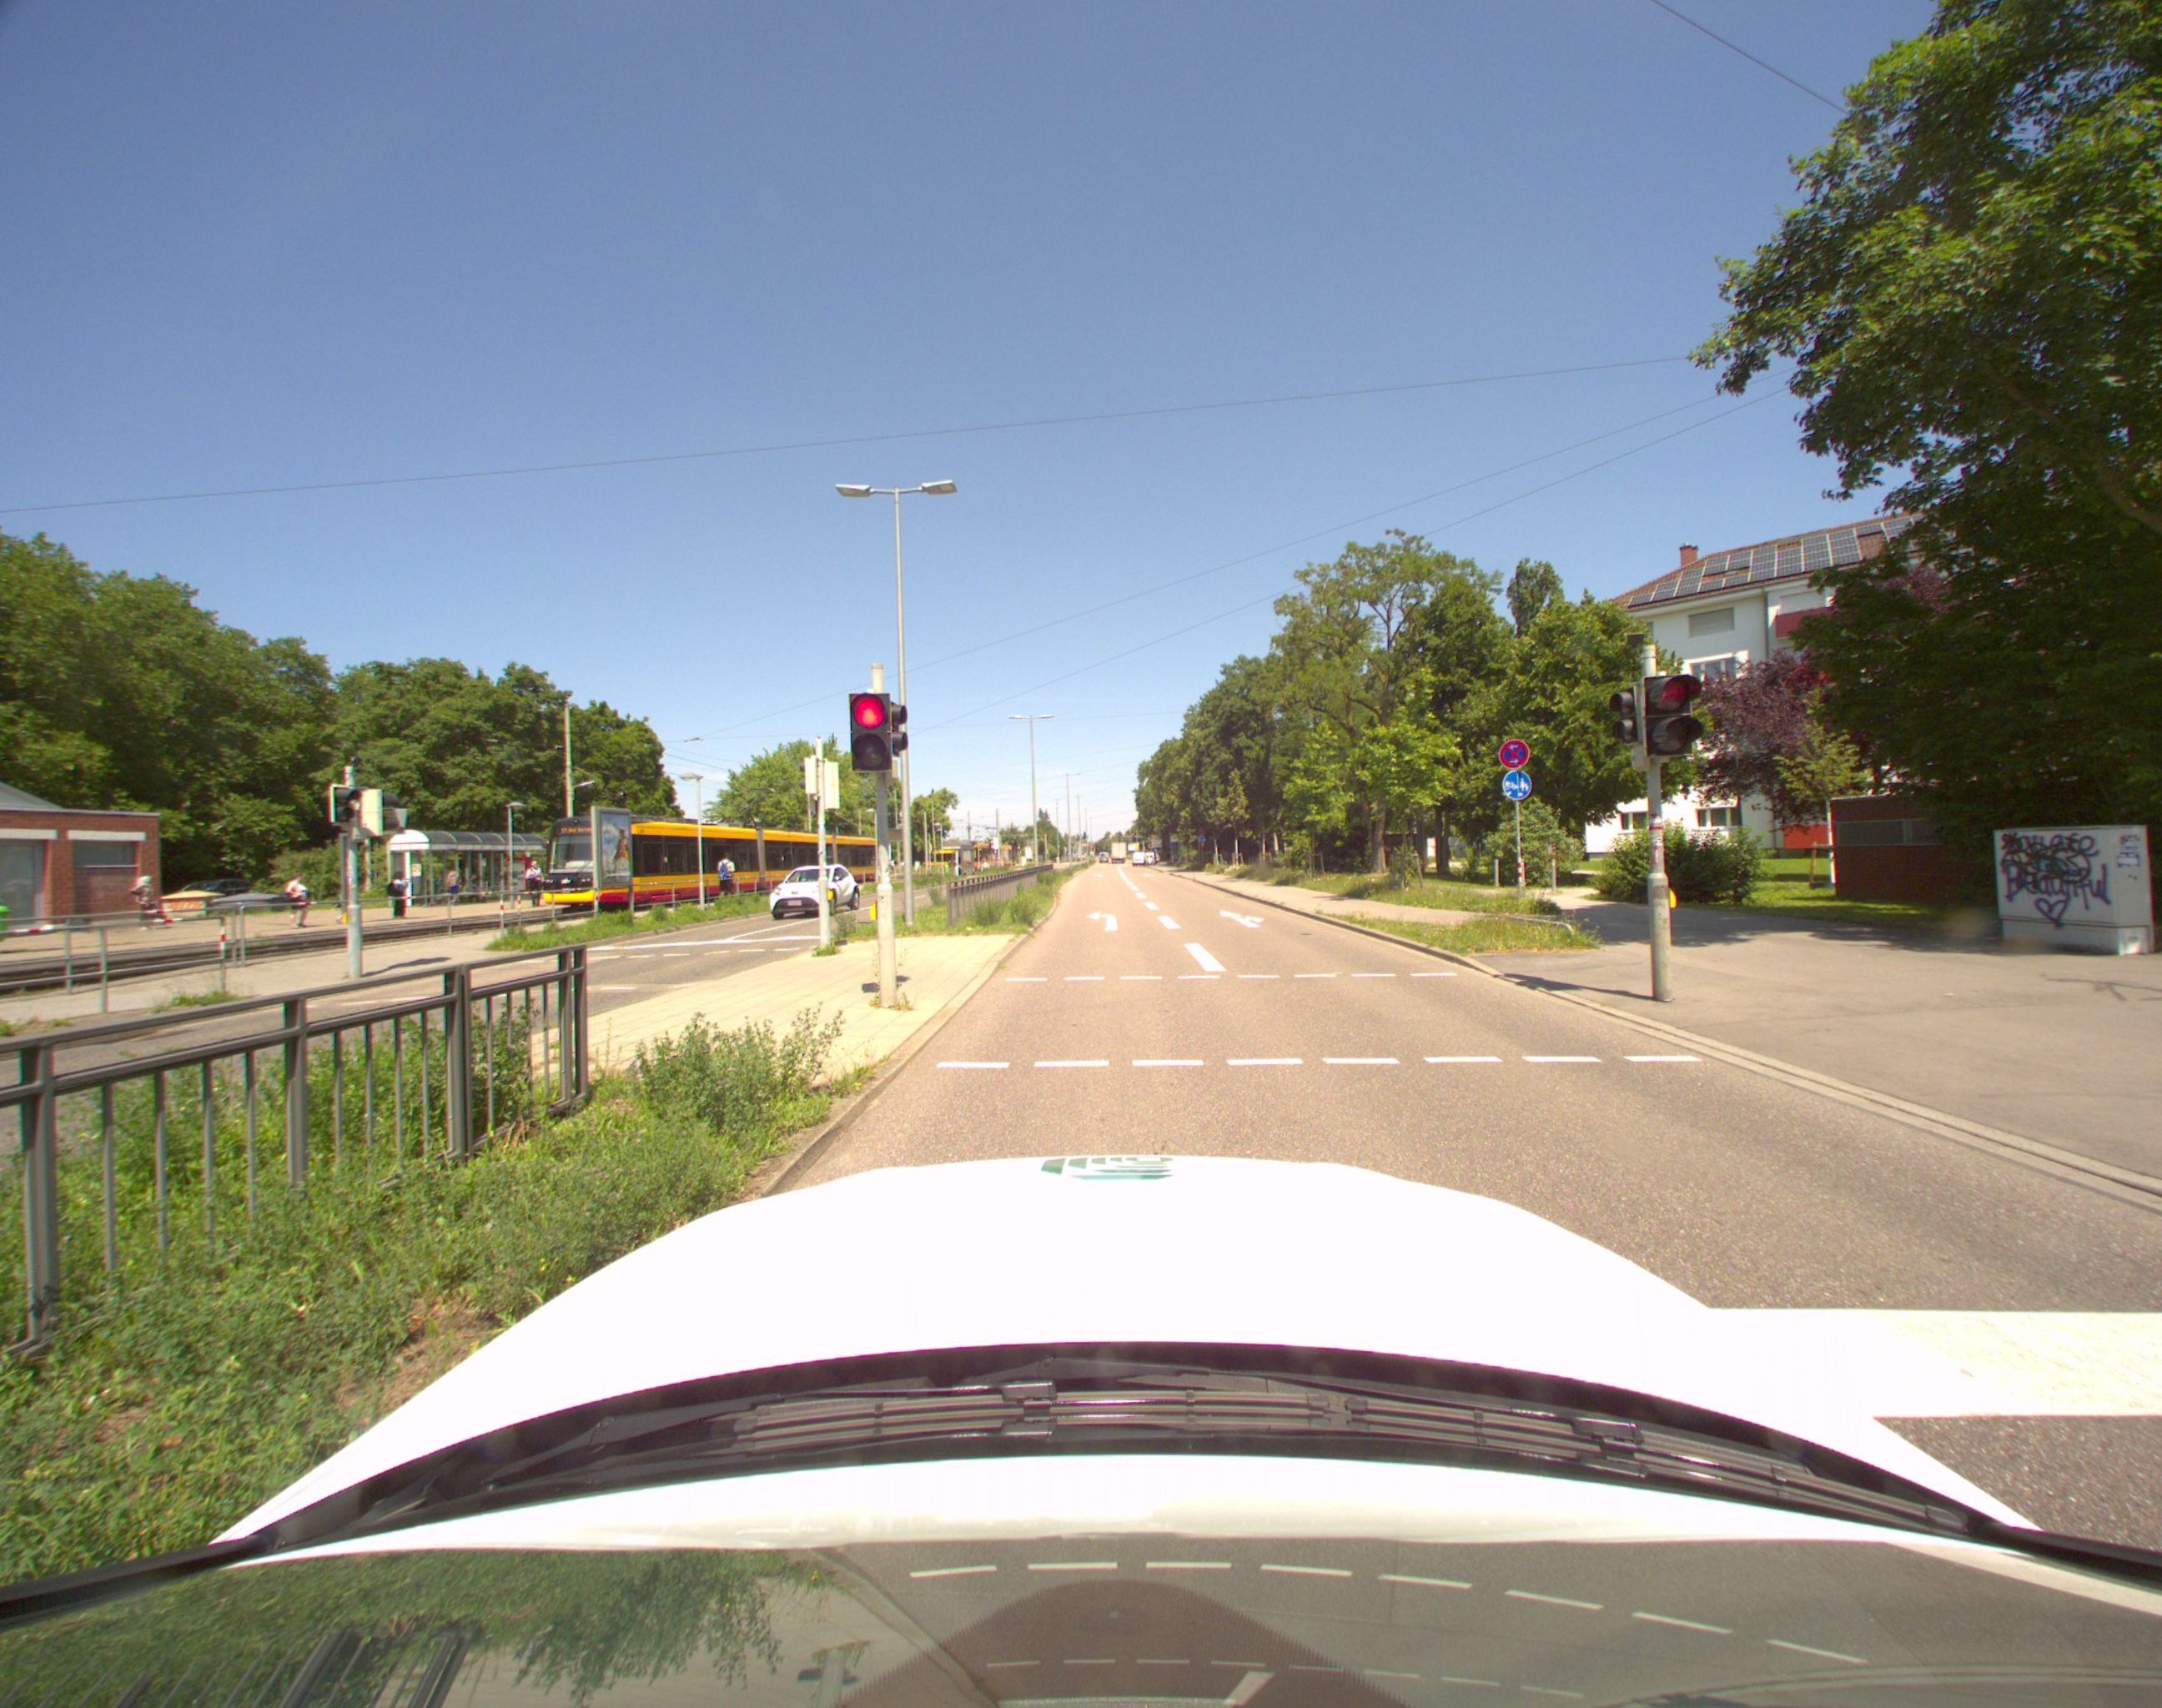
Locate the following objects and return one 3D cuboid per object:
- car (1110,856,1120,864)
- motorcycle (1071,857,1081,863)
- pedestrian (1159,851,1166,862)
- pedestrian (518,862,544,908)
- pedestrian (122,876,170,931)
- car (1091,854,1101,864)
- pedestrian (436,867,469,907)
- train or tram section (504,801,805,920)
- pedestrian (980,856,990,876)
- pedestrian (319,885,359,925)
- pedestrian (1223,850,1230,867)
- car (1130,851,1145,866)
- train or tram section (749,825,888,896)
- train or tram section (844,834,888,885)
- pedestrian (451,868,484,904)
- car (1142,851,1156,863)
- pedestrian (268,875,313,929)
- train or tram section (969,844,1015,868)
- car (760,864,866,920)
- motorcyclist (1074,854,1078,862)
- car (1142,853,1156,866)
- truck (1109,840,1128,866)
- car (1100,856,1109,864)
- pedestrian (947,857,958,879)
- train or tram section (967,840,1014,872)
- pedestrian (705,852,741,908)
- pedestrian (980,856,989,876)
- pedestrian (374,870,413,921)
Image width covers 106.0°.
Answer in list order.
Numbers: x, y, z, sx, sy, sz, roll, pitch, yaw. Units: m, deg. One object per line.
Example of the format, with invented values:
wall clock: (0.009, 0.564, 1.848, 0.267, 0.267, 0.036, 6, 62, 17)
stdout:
car: (6.481, 1.146, 153.693, 1.804, 1.464, 4.002, -2, 0, 2)
motorcycle: (-1.270, 1.406, 199.532, 2.183, 1.406, 0.845, -2, 0, -10)
pedestrian: (16.287, 0.485, 163.291, 1.180, 2.013, 1.214, -2, 0, 1)
pedestrian: (-21.992, 1.237, 32.559, 0.725, 1.800, 0.835, -1, -1, -41)
pedestrian: (-25.862, 1.361, 22.530, 0.636, 1.480, 0.570, -2, 0, 1)
car: (3.319, 1.098, 175.337, 1.986, 2.013, 4.002, -2, 0, 2)
pedestrian: (-25.667, 1.336, 33.247, 0.669, 1.590, 0.808, -2, 0, 1)
train or tram section: (-17.632, 0.227, 36.932, 3.203, 3.931, 18.510, -2, 0, 2)
pedestrian: (-9.914, 1.239, 84.070, 0.812, 2.013, 0.939, -2, 0, 1)
pedestrian: (-22.083, 1.513, 24.245, 0.636, 1.124, 0.570, -2, 0, 1)
pedestrian: (12.811, 0.394, 71.640, 0.600, 1.438, 0.557, -2, 0, 8)
car: (7.293, 0.563, 105.544, 1.773, 1.903, 4.002, -2, 0, 2)
train or tram section: (-17.062, 0.383, 55.387, 3.205, 3.931, 18.499, -2, 0, 0)
train or tram section: (-19.196, 0.470, 72.949, 3.221, 3.931, 18.406, -2, 0, -15)
pedestrian: (-26.285, 1.369, 34.900, 0.836, 1.511, 0.723, -2, 0, 12)
car: (9.903, 0.462, 118.767, 1.773, 1.668, 4.002, -2, 0, 2)
pedestrian: (-22.027, 1.327, 22.700, 0.636, 1.456, 0.583, -2, 0, 1)
train or tram section: (-16.141, 0.414, 143.276, 2.936, 3.789, 32.914, -1, 0, -15)
car: (-8.086, 1.100, 24.926, 1.838, 1.494, 3.793, -2, 0, 2)
motorcyclist: (-1.169, 0.965, 199.569, 0.924, 1.835, 0.847, -2, 0, -10)
car: (9.381, 0.719, 112.426, 1.773, 1.668, 4.002, -2, 0, 2)
truck: (6.766, -0.168, 146.142, 3.193, 4.359, 6.563, -2, 0, 2)
car: (4.552, 1.173, 158.010, 1.804, 1.464, 4.002, -2, 0, 2)
pedestrian: (-10.982, 1.199, 69.733, 0.783, 1.868, 0.818, -2, 0, 1)
train or tram section: (-12.097, 0.282, 113.017, 2.948, 3.749, 30.031, -2, 0, 0)
pedestrian: (-11.794, 0.846, 26.834, 0.715, 1.777, 0.843, 3, 2, 1)
pedestrian: (-10.134, 1.251, 85.370, 0.812, 2.013, 0.939, -2, 0, 1)
pedestrian: (-21.619, 1.282, 25.614, 0.635, 1.555, 0.691, -2, 0, -11)
